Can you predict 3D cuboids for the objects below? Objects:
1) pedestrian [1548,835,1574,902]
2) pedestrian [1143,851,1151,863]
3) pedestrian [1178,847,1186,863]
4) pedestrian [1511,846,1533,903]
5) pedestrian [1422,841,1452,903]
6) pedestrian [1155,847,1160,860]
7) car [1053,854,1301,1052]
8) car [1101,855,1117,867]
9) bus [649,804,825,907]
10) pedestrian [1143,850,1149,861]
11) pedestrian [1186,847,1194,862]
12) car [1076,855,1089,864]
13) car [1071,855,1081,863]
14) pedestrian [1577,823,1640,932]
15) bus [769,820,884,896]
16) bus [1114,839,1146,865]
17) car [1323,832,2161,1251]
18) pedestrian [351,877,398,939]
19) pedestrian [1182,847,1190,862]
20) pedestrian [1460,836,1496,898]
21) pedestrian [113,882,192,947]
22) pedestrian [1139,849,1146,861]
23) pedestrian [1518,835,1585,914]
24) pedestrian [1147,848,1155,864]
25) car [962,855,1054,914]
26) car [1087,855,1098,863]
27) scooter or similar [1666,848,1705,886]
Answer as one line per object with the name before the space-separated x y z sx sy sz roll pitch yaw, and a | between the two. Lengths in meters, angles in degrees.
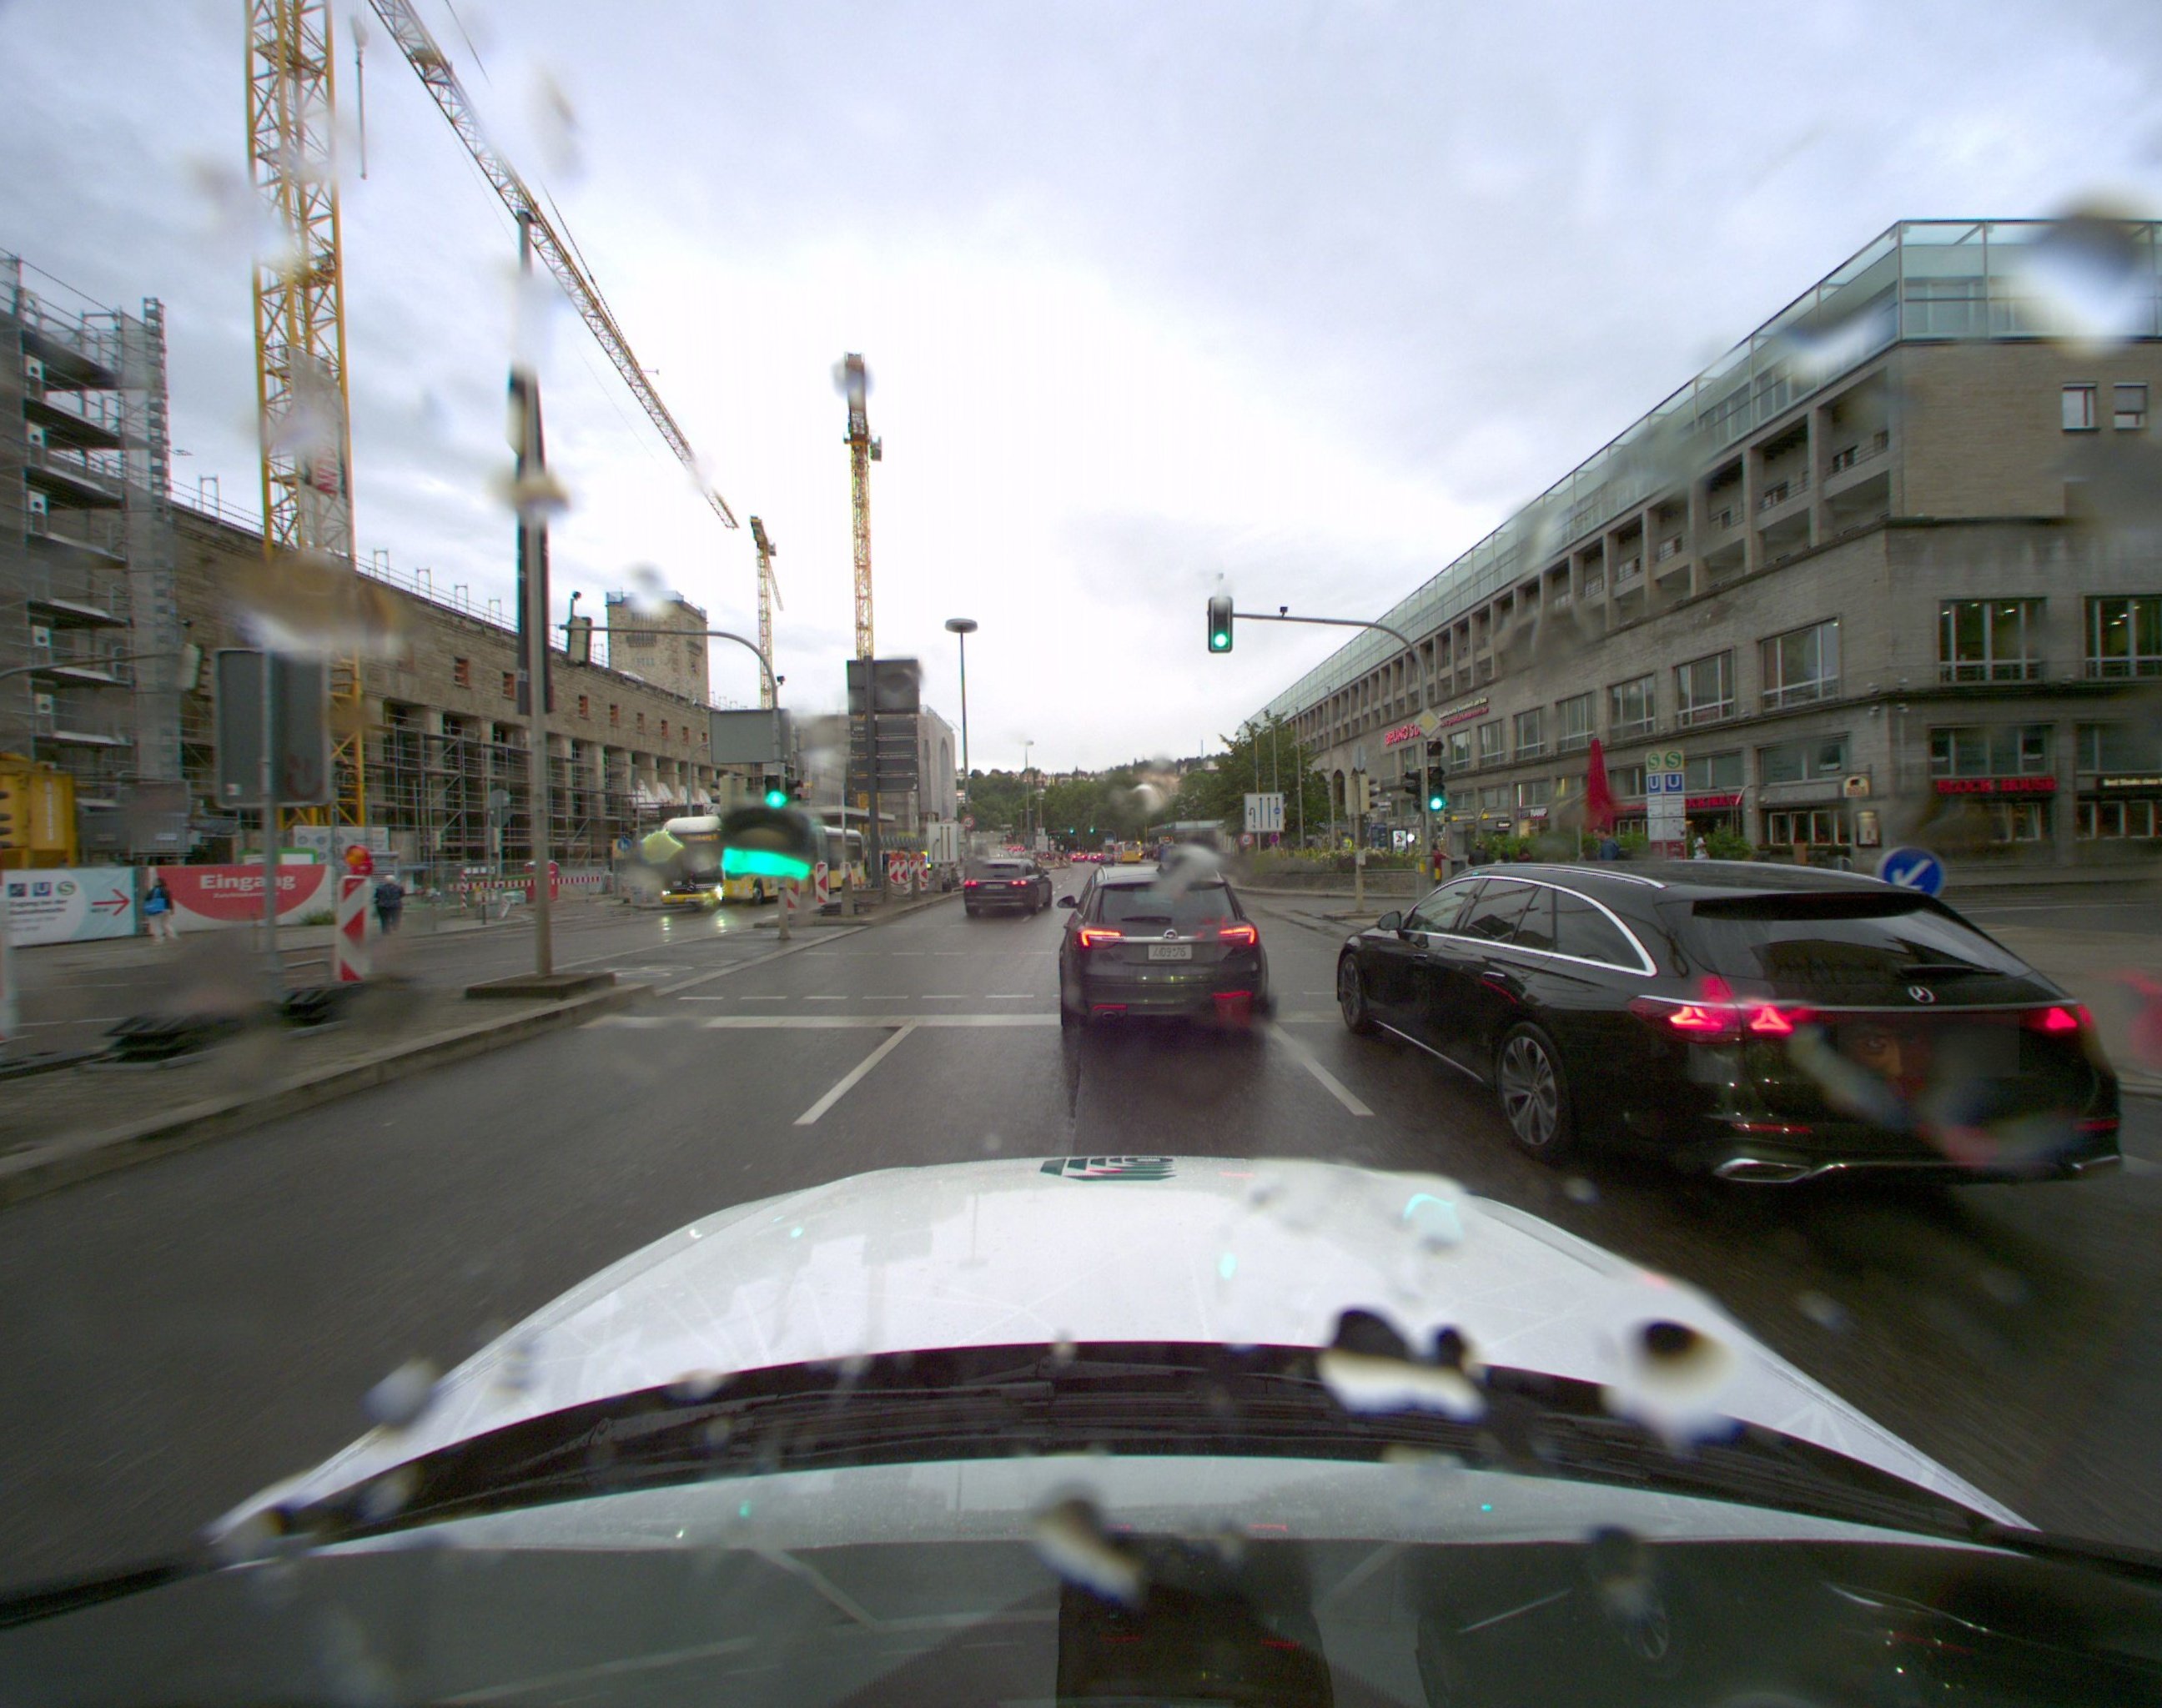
pedestrian | 12.797 0.388 21.718 0.477 1.751 0.670 -4 -1 30
pedestrian | 11.252 0.501 139.017 1.194 2.149 1.229 0 -1 3
pedestrian | 10.850 0.099 87.703 0.761 1.690 0.824 0 -1 -3
pedestrian | 11.882 0.557 21.947 0.460 1.517 0.453 -1 -1 35
pedestrian | 10.240 0.502 23.404 0.563 1.752 0.684 -1 -1 44
pedestrian | 9.987 -0.076 106.335 0.655 1.690 0.609 0 -1 2
car | 0.769 0.774 8.150 1.868 1.486 4.001 0 -1 1
car | 3.395 0.884 98.157 1.839 1.398 3.668 0 -1 2
bus | -13.734 0.127 33.814 2.658 3.602 10.242 0 -1 2
pedestrian | 12.244 0.297 153.912 1.194 2.149 1.229 0 -1 3
pedestrian | 12.172 0.074 91.101 0.761 1.690 0.824 0 -1 -3
car | 0.230 0.906 128.308 1.839 1.398 3.565 0 -1 2
car | -0.931 0.949 158.515 1.752 1.398 3.565 0 -1 2
pedestrian | 8.762 0.385 13.545 0.770 1.756 0.507 -1 -1 45
bus | -13.423 0.259 44.098 2.658 3.602 10.215 0 -1 2
bus | 6.983 -0.149 117.716 4.158 3.469 14.659 0 -1 2
car | 3.121 0.705 5.264 1.787 1.501 4.628 0 -1 1
pedestrian | -18.518 1.390 21.366 0.790 1.561 0.866 0 -1 -33
pedestrian | 11.911 0.089 92.189 0.761 1.690 0.824 0 -1 -3
pedestrian | 11.006 0.356 22.604 0.753 1.717 0.466 0 -1 -2
pedestrian | -23.153 1.500 20.325 0.912 1.563 0.899 0 -1 -2
pedestrian | 11.253 0.140 149.617 1.194 2.149 1.229 0 -1 3
pedestrian | 10.959 0.467 18.998 1.093 1.751 0.653 -3 -1 -1
pedestrian | 10.720 0.304 125.485 1.194 2.435 1.229 0 -1 3
car | -1.905 0.792 22.586 1.847 1.469 4.591 0 -1 4
car | 2.089 0.919 146.110 1.839 1.398 3.565 0 0 2
scooter or similar | 19.237 0.410 25.912 0.290 1.189 1.014 0 -1 -17
